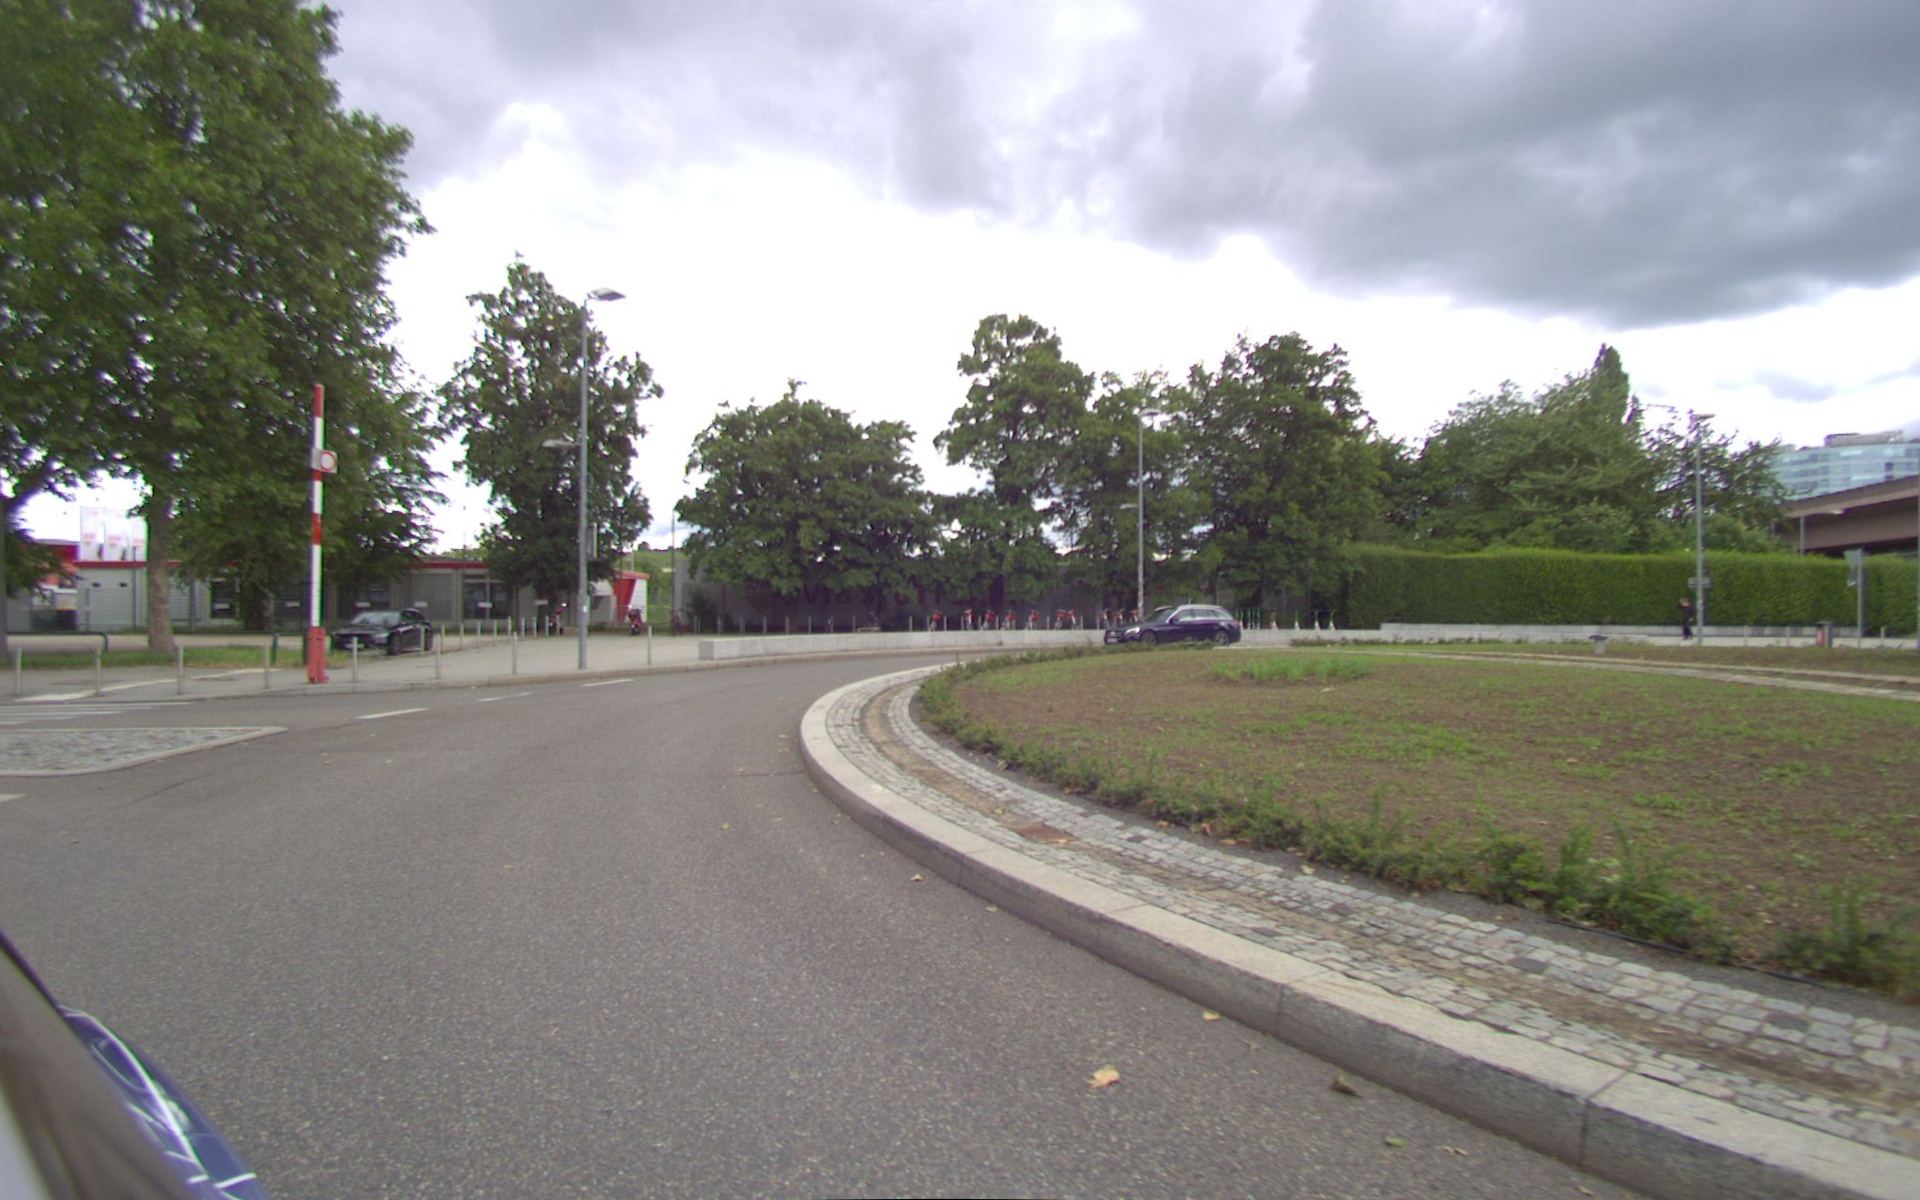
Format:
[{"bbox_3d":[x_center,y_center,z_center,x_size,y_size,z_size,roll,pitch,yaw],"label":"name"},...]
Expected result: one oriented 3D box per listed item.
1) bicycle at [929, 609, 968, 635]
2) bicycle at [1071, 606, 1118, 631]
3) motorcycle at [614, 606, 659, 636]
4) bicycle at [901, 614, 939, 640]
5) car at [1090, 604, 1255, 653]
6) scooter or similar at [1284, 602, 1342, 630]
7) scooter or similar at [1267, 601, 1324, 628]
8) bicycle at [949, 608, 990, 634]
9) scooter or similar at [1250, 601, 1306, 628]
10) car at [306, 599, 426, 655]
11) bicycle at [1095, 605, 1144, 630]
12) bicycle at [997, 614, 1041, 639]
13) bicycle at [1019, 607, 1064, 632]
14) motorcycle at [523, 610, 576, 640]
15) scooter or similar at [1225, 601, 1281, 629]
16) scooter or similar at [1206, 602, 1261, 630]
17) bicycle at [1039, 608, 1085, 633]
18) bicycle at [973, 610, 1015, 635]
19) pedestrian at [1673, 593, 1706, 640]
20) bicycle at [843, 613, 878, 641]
[{"bbox_3d":[-0.554,1.003,46.337,0.760,1.105,3.202,0,0,-20],"label":"bicycle"},{"bbox_3d":[6.199,0.838,46.928,0.760,1.105,3.202,0,0,-21],"label":"bicycle"},{"bbox_3d":[-14.177,0.899,44.515,0.762,1.231,3.671,0,0,1],"label":"motorcycle"},{"bbox_3d":[-1.846,1.203,45.941,0.760,1.105,3.202,0,0,-20],"label":"bicycle"},{"bbox_3d":[6.749,0.874,32.073,4.848,1.471,2.007,0,0,-23],"label":"car"},{"bbox_3d":[16.998,0.753,48.845,0.760,1.259,3.202,0,0,-21],"label":"scooter or similar"},{"bbox_3d":[16.096,0.672,48.621,0.760,1.259,3.202,0,0,-21],"label":"scooter or similar"},{"bbox_3d":[0.396,0.941,46.505,0.760,1.105,3.202,0,0,-21],"label":"bicycle"},{"bbox_3d":[15.092,0.669,48.170,0.760,1.259,3.202,0,0,-21],"label":"scooter or similar"},{"bbox_3d":[-18.474,0.823,31.699,2.195,1.618,4.011,0,-1,-14],"label":"car"},{"bbox_3d":[7.382,0.801,47.102,0.760,1.105,3.202,0,0,-21],"label":"bicycle"},{"bbox_3d":[2.671,1.215,46.096,0.760,1.105,3.202,0,-2,-21],"label":"bicycle"},{"bbox_3d":[3.711,0.868,46.610,0.760,1.105,3.202,0,0,-21],"label":"bicycle"},{"bbox_3d":[-17.924,1.051,44.288,0.762,1.231,3.671,0,0,1],"label":"motorcycle"},{"bbox_3d":[13.754,0.693,47.642,0.760,1.259,3.202,0,0,-21],"label":"scooter or similar"},{"bbox_3d":[12.740,0.717,47.312,0.760,1.259,3.202,0,0,-21],"label":"scooter or similar"},{"bbox_3d":[4.699,0.927,47.019,0.760,1.105,3.202,0,0,-21],"label":"bicycle"},{"bbox_3d":[1.540,1.004,46.457,0.760,1.105,3.202,0,-1,-21],"label":"bicycle"},{"bbox_3d":[32.392,0.730,44.961,0.589,2.029,1.049,0,0,-16],"label":"pedestrian"},{"bbox_3d":[-4.455,1.183,45.005,0.760,1.105,3.202,0,0,-20],"label":"bicycle"}]
